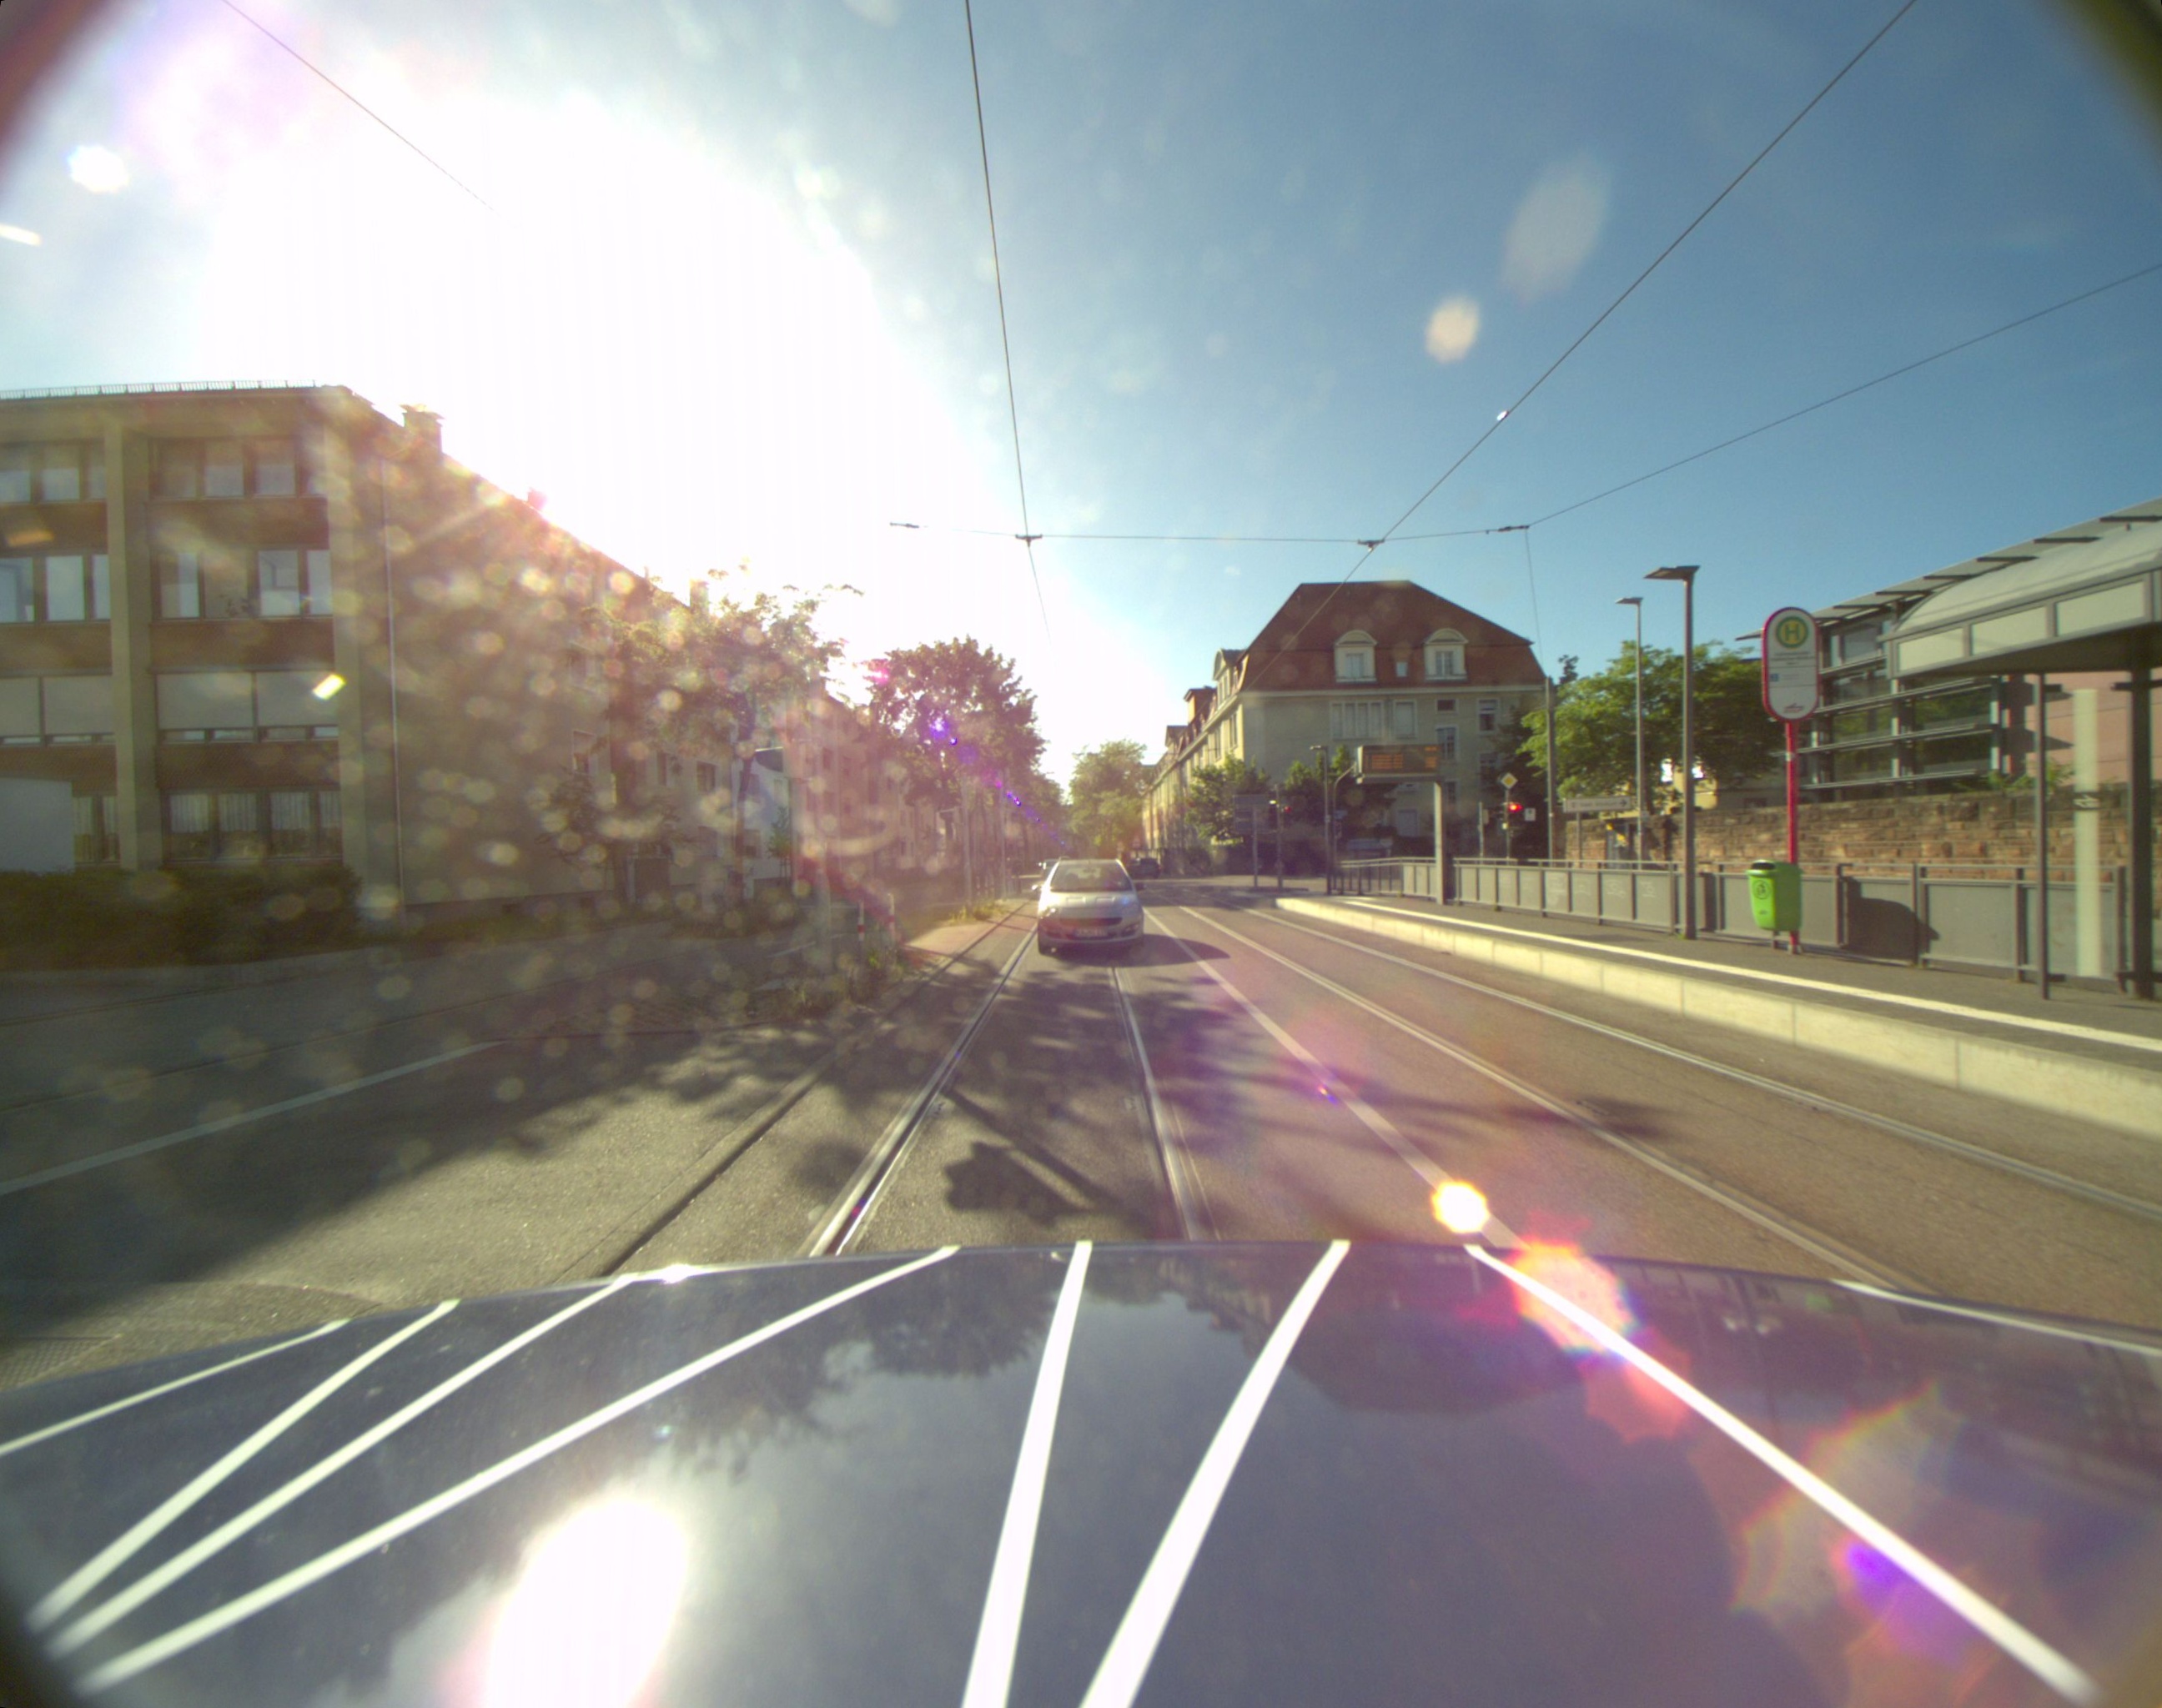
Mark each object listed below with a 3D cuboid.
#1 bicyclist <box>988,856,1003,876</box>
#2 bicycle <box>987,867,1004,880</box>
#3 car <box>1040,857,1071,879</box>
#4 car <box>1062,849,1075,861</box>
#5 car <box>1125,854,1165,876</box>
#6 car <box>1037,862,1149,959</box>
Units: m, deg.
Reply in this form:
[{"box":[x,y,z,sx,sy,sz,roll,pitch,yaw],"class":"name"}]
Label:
[{"box":[-6.353,0.898,56.507,0.818,1.491,1.258,-1,0,4],"class":"bicyclist"},{"box":[-6.327,1.420,56.574,0.826,0.880,2.199,-1,0,4],"class":"bicycle"},{"box":[-1.788,0.947,52.685,1.743,1.450,3.691,-1,0,-8],"class":"car"},{"box":[-1.977,0.174,118.653,1.825,1.751,3.692,-3,0,-3],"class":"car"},{"box":[4.396,0.749,52.661,1.743,1.450,4.401,-1,0,-9],"class":"car"},{"box":[0.185,0.916,13.863,1.742,1.450,3.693,-1,0,0],"class":"car"}]
